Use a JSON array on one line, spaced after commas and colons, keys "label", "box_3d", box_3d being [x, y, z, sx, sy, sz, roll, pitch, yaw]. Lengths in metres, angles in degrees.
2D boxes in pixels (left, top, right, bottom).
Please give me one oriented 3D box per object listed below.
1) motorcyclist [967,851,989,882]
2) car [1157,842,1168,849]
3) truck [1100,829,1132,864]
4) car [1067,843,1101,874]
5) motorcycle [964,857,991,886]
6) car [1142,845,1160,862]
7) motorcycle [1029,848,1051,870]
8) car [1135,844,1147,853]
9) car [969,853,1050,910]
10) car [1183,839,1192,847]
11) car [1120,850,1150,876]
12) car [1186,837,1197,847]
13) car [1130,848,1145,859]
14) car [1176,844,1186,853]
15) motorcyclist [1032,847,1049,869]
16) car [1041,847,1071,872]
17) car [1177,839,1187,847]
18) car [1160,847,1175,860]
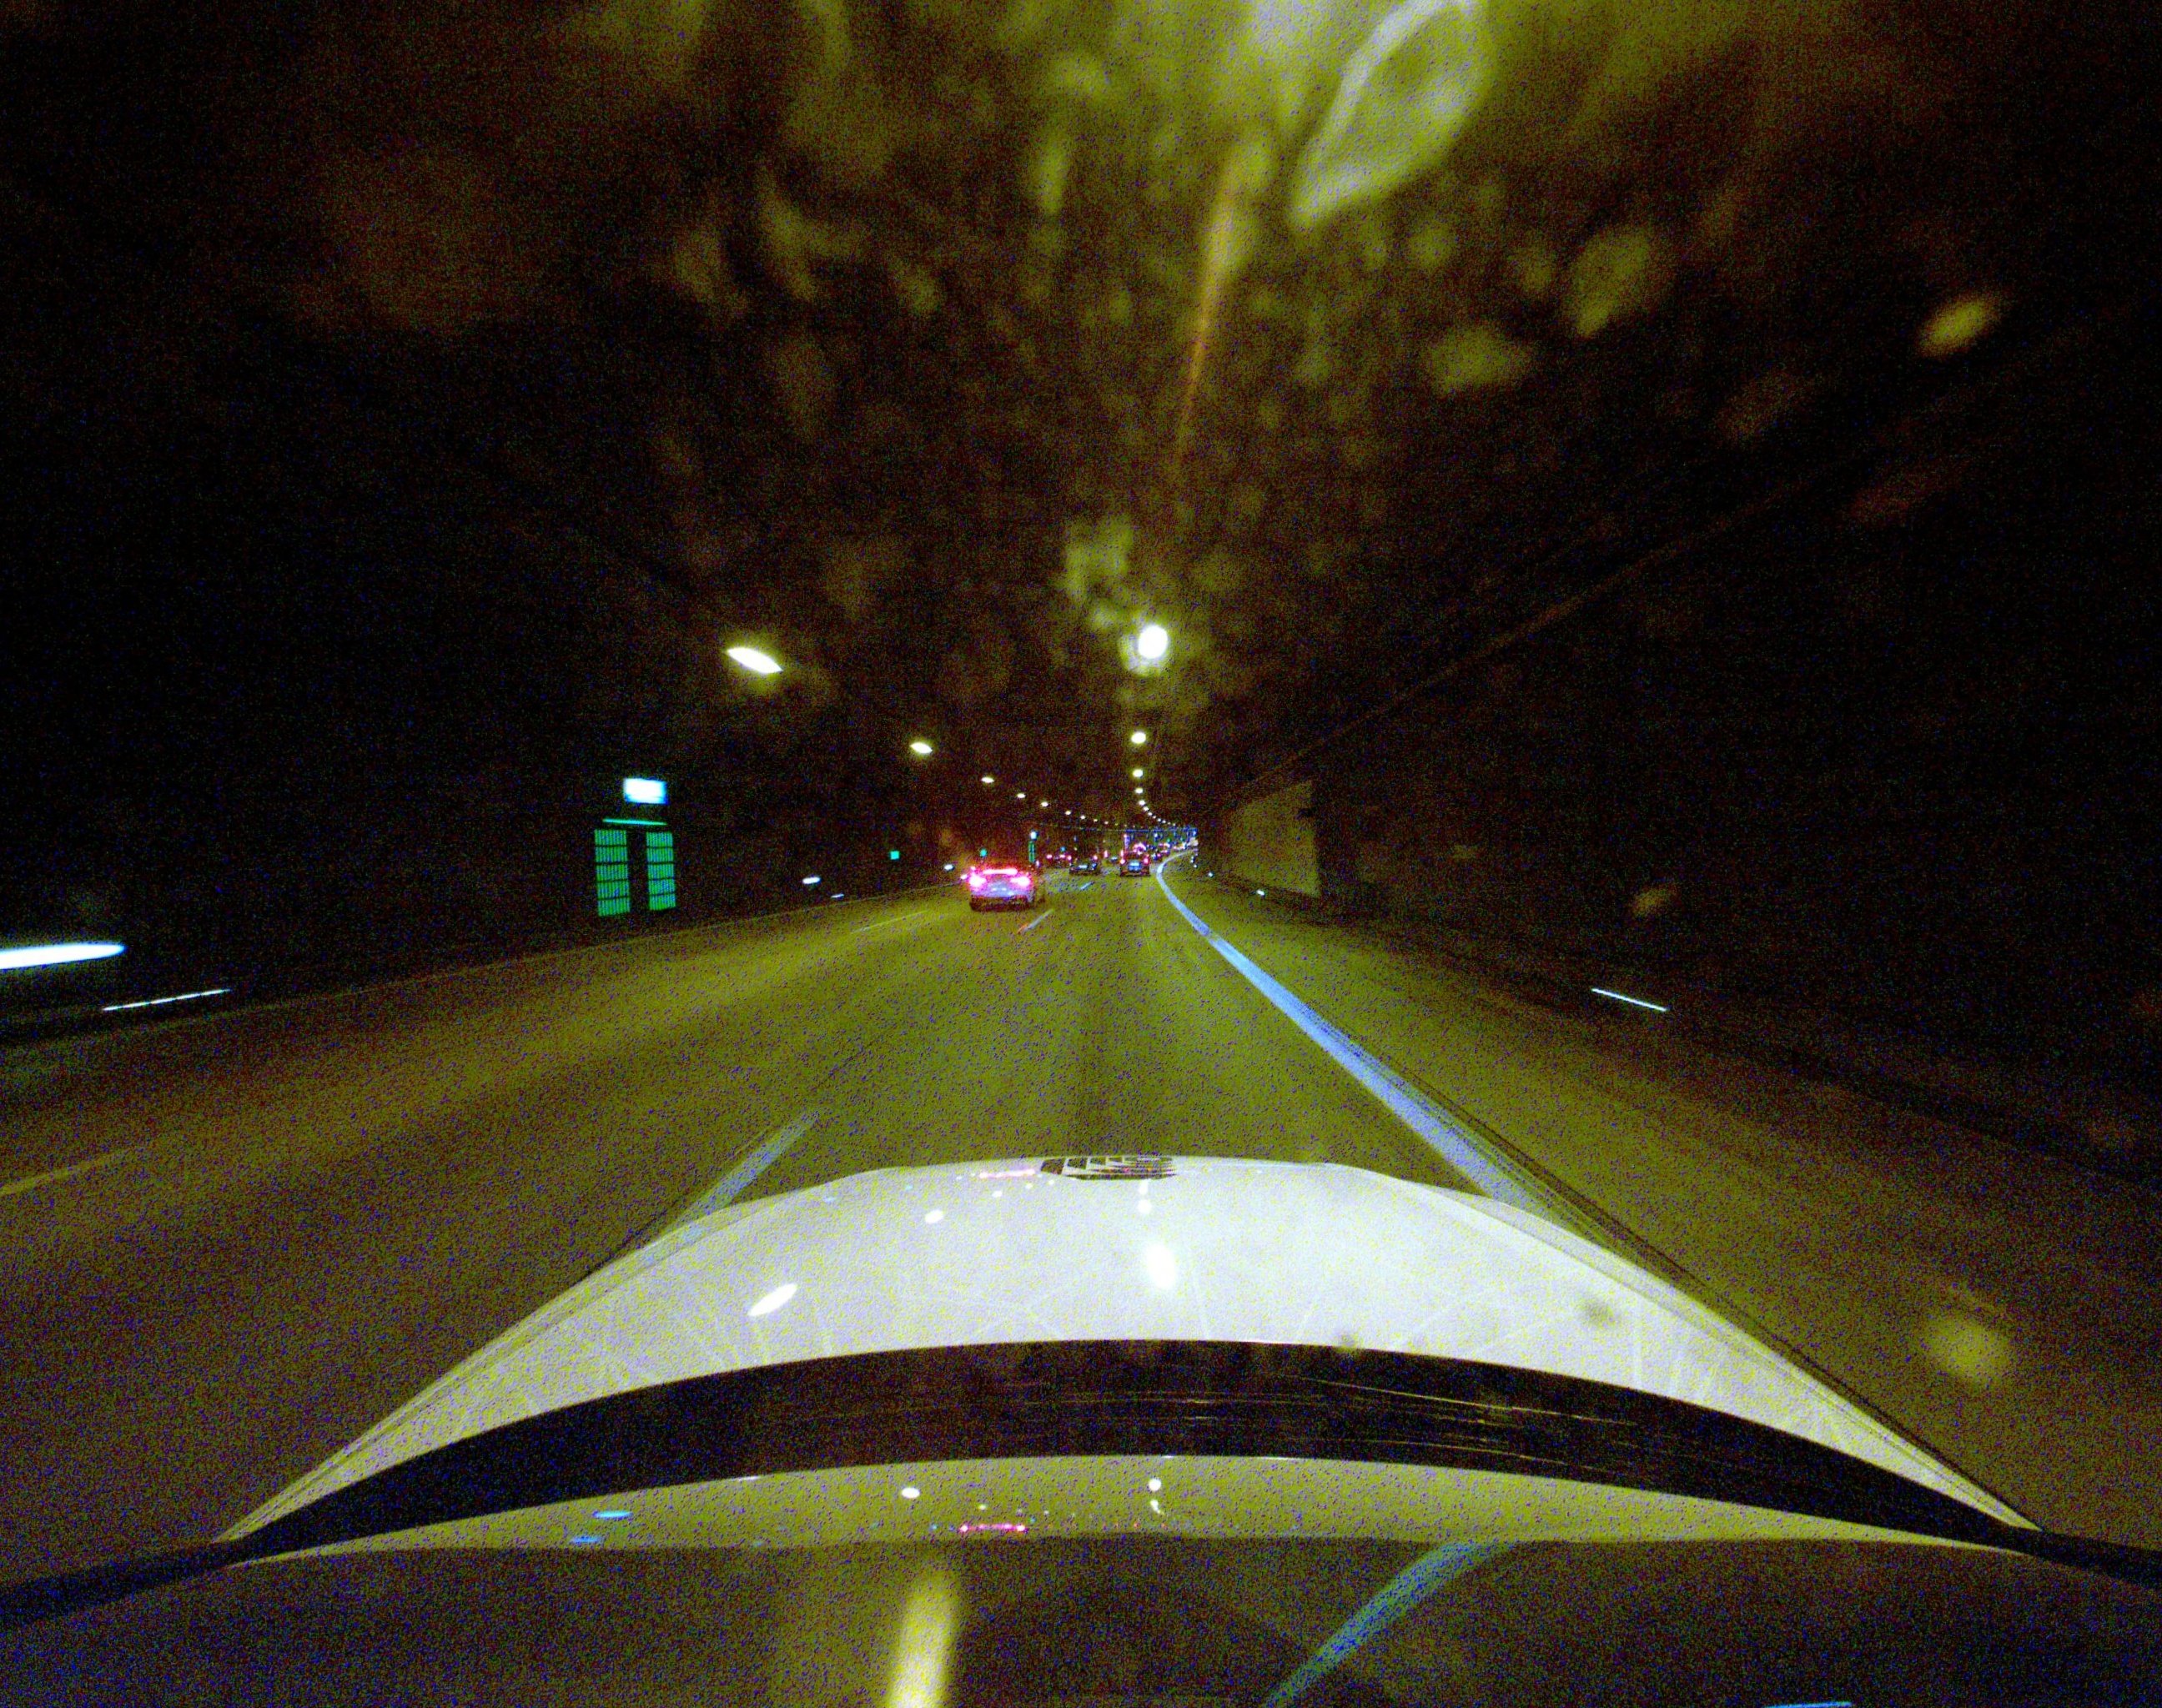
[{"label": "motorcyclist", "box_3d": [-4.904, 0.589, 38.781, 0.773, 1.452, 1.070, -1, -1, 6]}, {"label": "car", "box_3d": [18.694, -1.921, 186.143, 1.917, 1.643, 4.014, -1, -1, 13]}, {"label": "truck", "box_3d": [3.959, -0.755, 90.424, 3.024, 3.673, 7.405, -1, 0, 6]}, {"label": "car", "box_3d": [0.235, 0.267, 54.033, 1.901, 1.944, 3.876, -1, 1, 4]}, {"label": "motorcycle", "box_3d": [-4.904, 0.818, 38.771, 0.679, 1.297, 2.403, -1, 0, 6]}, {"label": "car", "box_3d": [7.664, -0.067, 89.168, 1.849, 1.854, 4.005, -1, 0, 4]}, {"label": "motorcycle", "box_3d": [-2.783, 0.339, 55.331, 0.921, 1.434, 2.970, 0, -1, 8]}, {"label": "car", "box_3d": [11.402, -1.104, 154.223, 1.919, 1.642, 4.009, -1, 0, 8]}, {"label": "car", "box_3d": [-2.006, 0.731, 24.221, 1.695, 1.419, 5.064, -1, 1, 3]}, {"label": "car", "box_3d": [26.210, -2.702, 200.409, 1.981, 2.014, 4.010, -1, -1, 10]}, {"label": "car", "box_3d": [3.311, 0.526, 50.282, 1.735, 1.464, 3.875, -1, 2, 4]}, {"label": "car", "box_3d": [24.940, -2.704, 183.469, 1.980, 2.014, 4.014, -1, -1, 13]}, {"label": "car", "box_3d": [8.563, -0.100, 122.461, 1.982, 1.631, 4.009, -1, 0, 8]}, {"label": "car", "box_3d": [18.898, -1.060, 154.266, 1.921, 1.643, 4.007, -1, -1, 6]}, {"label": "motorcyclist", "box_3d": [-2.746, 0.309, 55.484, 0.801, 1.448, 1.870, -1, -1, 9]}, {"label": "car", "box_3d": [-2.101, 0.430, 69.629, 1.984, 2.013, 4.006, -1, 0, 5]}, {"label": "car", "box_3d": [23.048, -2.525, 185.671, 1.980, 1.632, 4.014, -1, -1, 13]}, {"label": "car", "box_3d": [12.310, -0.005, 116.156, 1.941, 1.772, 4.004, -1, -1, 4]}]
